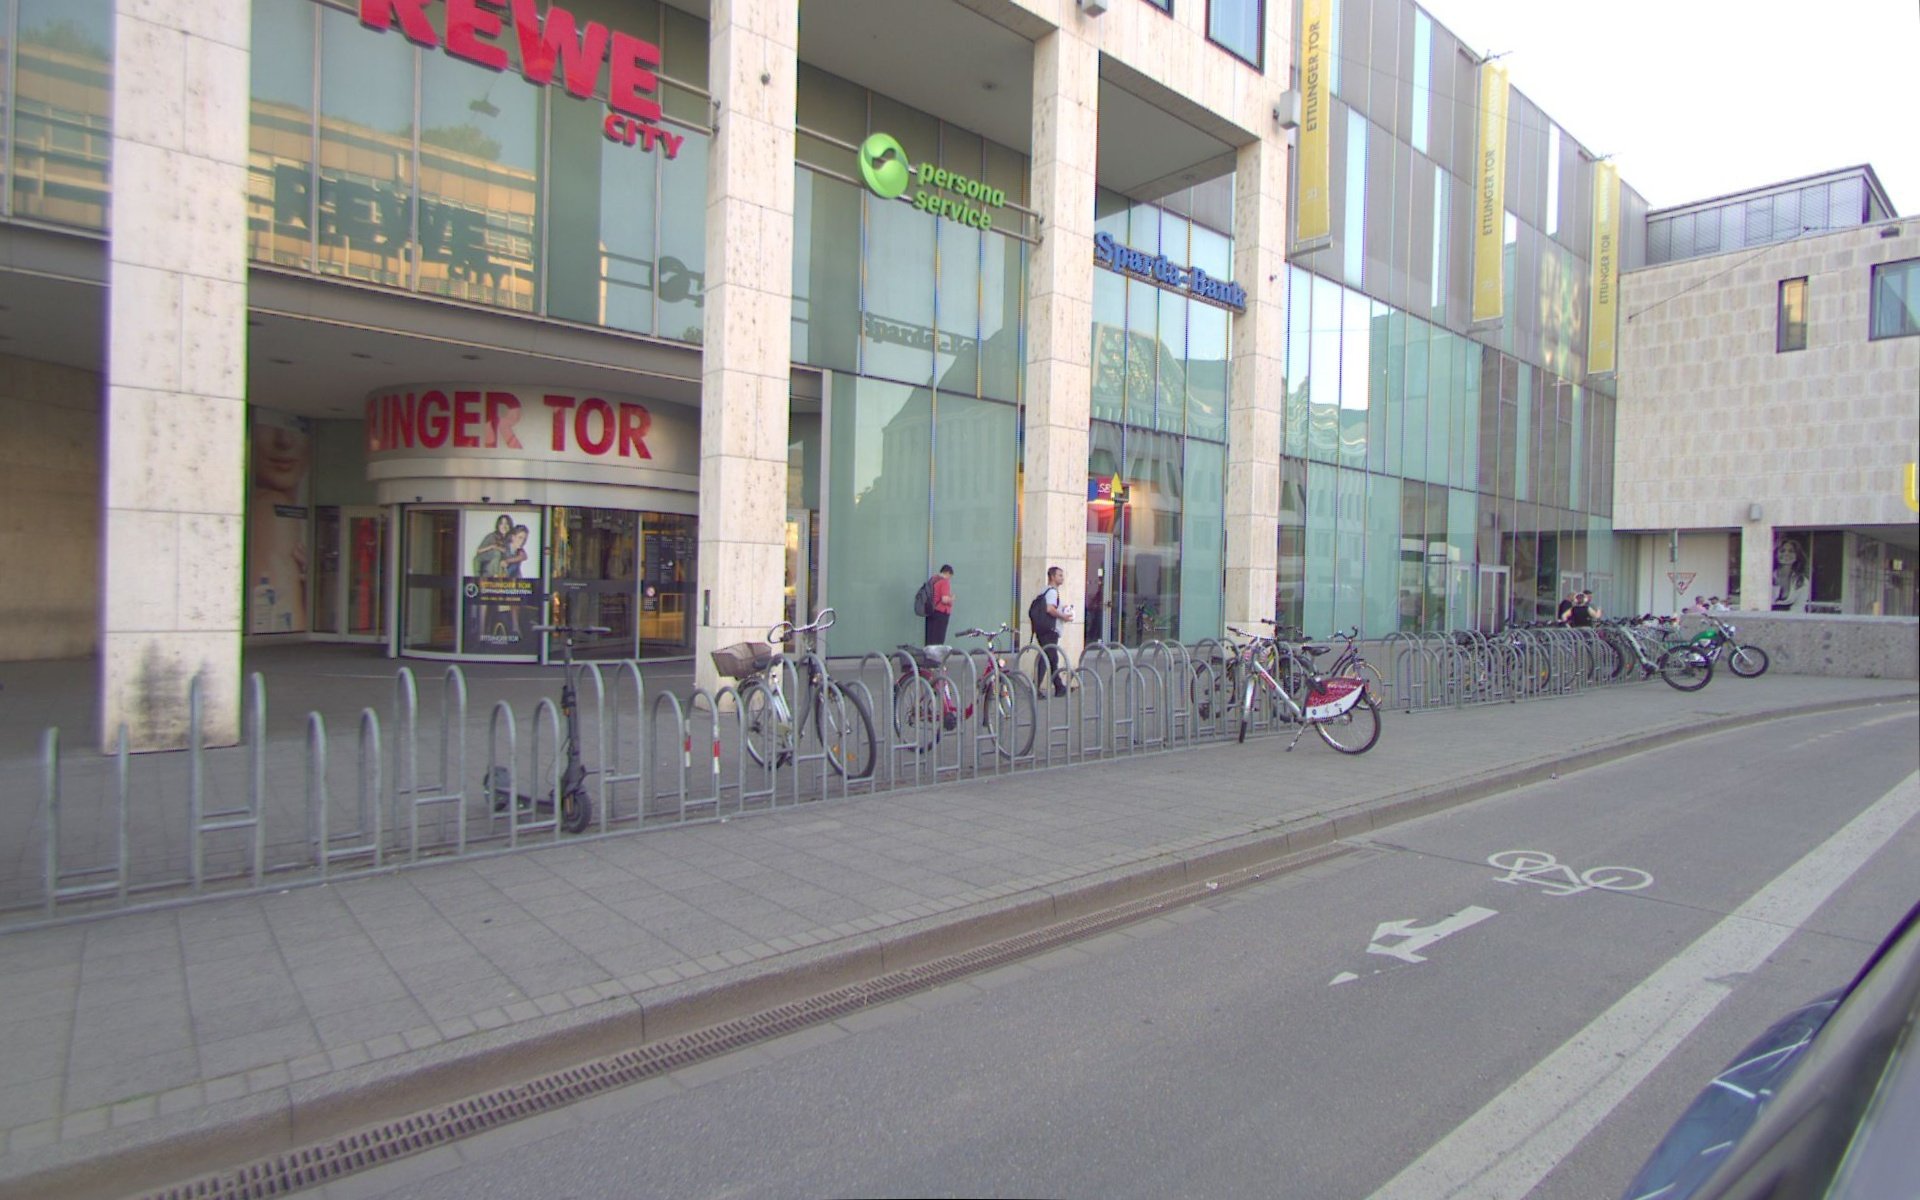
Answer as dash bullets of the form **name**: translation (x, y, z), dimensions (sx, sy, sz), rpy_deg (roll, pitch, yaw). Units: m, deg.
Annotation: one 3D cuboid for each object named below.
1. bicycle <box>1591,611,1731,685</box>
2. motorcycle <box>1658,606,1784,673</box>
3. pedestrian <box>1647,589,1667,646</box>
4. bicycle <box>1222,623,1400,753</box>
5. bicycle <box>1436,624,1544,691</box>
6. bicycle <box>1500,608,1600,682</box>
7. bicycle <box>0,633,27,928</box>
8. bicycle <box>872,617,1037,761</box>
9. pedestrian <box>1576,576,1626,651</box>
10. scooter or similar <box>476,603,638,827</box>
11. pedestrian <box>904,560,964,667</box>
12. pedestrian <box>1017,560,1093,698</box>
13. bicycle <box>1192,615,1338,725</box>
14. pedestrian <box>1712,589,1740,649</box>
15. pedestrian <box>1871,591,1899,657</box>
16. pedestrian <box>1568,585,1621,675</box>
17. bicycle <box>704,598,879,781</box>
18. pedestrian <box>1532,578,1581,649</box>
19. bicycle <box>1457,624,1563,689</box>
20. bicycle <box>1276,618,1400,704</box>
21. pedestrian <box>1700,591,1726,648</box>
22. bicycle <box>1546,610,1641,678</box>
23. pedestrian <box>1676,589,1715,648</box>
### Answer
- **bicycle**: translation (11.564, 0.770, 16.747), dimensions (0.458, 1.161, 1.837), rpy_deg (1, -2, -39)
- **motorcycle**: translation (15.578, 0.786, 20.769), dimensions (0.472, 1.239, 2.004), rpy_deg (1, 1, -43)
- **pedestrian**: translation (21.708, 0.539, 31.518), dimensions (0.444, 1.765, 0.364), rpy_deg (1, 1, -38)
- **bicycle**: translation (3.169, 0.757, 9.250), dimensions (0.458, 1.077, 1.518), rpy_deg (1, -2, -39)
- **bicycle**: translation (7.943, 0.839, 15.209), dimensions (0.509, 0.944, 1.344), rpy_deg (1, -2, -41)
- **bicycle**: translation (9.830, 0.733, 16.898), dimensions (0.509, 1.179, 1.344), rpy_deg (1, -2, -41)
- **bicycle**: translation (-4.553, 0.719, 4.479), dimensions (1.768, 1.092, 0.475), rpy_deg (3, 1, 43)
- **bicycle**: translation (-0.076, 0.710, 8.673), dimensions (0.543, 1.120, 1.516), rpy_deg (1, -2, -43)
- **pedestrian**: translation (15.215, 0.302, 24.025), dimensions (0.810, 1.717, 0.694), rpy_deg (2, 1, 19)
- **scooter or similar**: translation (-2.520, 0.649, 6.278), dimensions (0.484, 1.214, 1.194), rpy_deg (1, 1, -44)
- **pedestrian**: translation (-0.416, 0.208, 16.212), dimensions (0.695, 1.672, 0.629), rpy_deg (1, 1, -40)
- **pedestrian**: translation (1.221, 0.351, 13.004), dimensions (0.696, 1.713, 0.628), rpy_deg (1, 1, -42)
- **bicycle**: translation (3.377, 0.739, 11.313), dimensions (0.569, 1.138, 1.519), rpy_deg (1, -1, -36)
- **pedestrian**: translation (23.251, 0.571, 30.721), dimensions (0.644, 1.765, 0.494), rpy_deg (1, 1, -38)
- **pedestrian**: translation (25.517, 0.653, 27.913), dimensions (0.483, 1.765, 0.455), rpy_deg (1, 1, -38)
- **pedestrian**: translation (12.240, 0.558, 19.544), dimensions (0.802, 1.663, 0.640), rpy_deg (2, 1, 31)
- **bicycle**: translation (-1.308, 0.623, 7.670), dimensions (0.607, 1.243, 1.517), rpy_deg (1, -2, -41)
- **pedestrian**: translation (14.438, 0.318, 24.511), dimensions (0.809, 1.668, 0.737), rpy_deg (2, 1, 17)
- **bicycle**: translation (8.454, 0.851, 15.588), dimensions (0.509, 0.944, 1.344), rpy_deg (1, -2, -41)
- **bicycle**: translation (5.011, 0.777, 13.453), dimensions (1.439, 1.078, 0.572), rpy_deg (-1, -2, 39)
- **pedestrian**: translation (23.550, 0.605, 31.642), dimensions (0.539, 1.765, 0.494), rpy_deg (1, 1, -38)
- **bicycle**: translation (11.393, 0.766, 18.222), dimensions (0.509, 1.179, 1.344), rpy_deg (1, -2, -41)
- **pedestrian**: translation (22.611, 0.568, 31.099), dimensions (0.644, 1.765, 0.794), rpy_deg (1, 1, -38)
